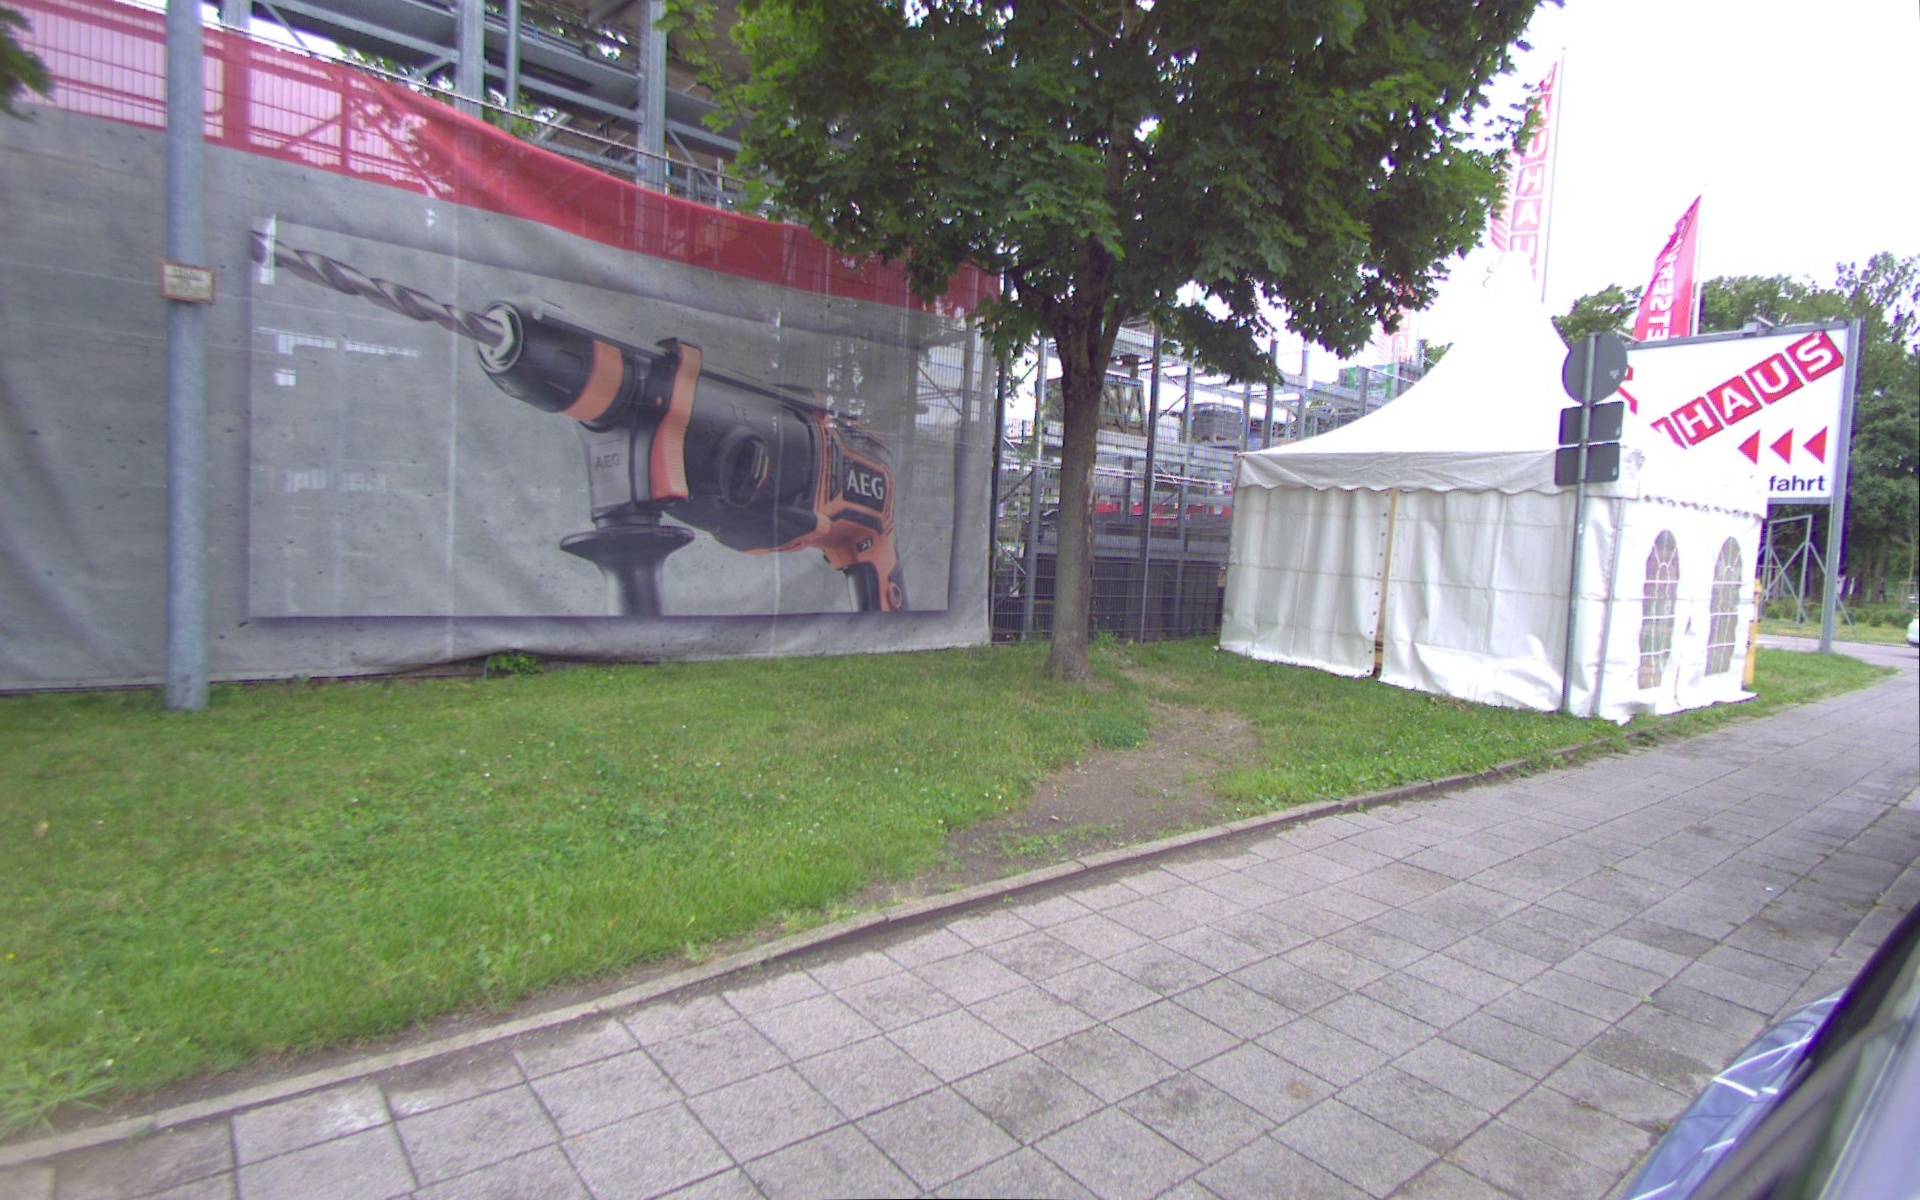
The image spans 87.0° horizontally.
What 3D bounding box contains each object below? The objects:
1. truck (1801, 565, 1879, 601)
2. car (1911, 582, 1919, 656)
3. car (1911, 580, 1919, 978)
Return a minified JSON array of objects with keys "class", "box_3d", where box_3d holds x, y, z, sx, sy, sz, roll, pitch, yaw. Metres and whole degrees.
[{"class":"truck","box_3d":[66.840,-1.323,76.909,3.925,2.425,2.001,3,3,1]},{"class":"car","box_3d":[20.607,0.497,18.383,1.902,1.445,4.500,-1,4,-33]},{"class":"car","box_3d":[5.753,0.499,4.288,4.399,1.762,1.913,0,1,-39]}]
